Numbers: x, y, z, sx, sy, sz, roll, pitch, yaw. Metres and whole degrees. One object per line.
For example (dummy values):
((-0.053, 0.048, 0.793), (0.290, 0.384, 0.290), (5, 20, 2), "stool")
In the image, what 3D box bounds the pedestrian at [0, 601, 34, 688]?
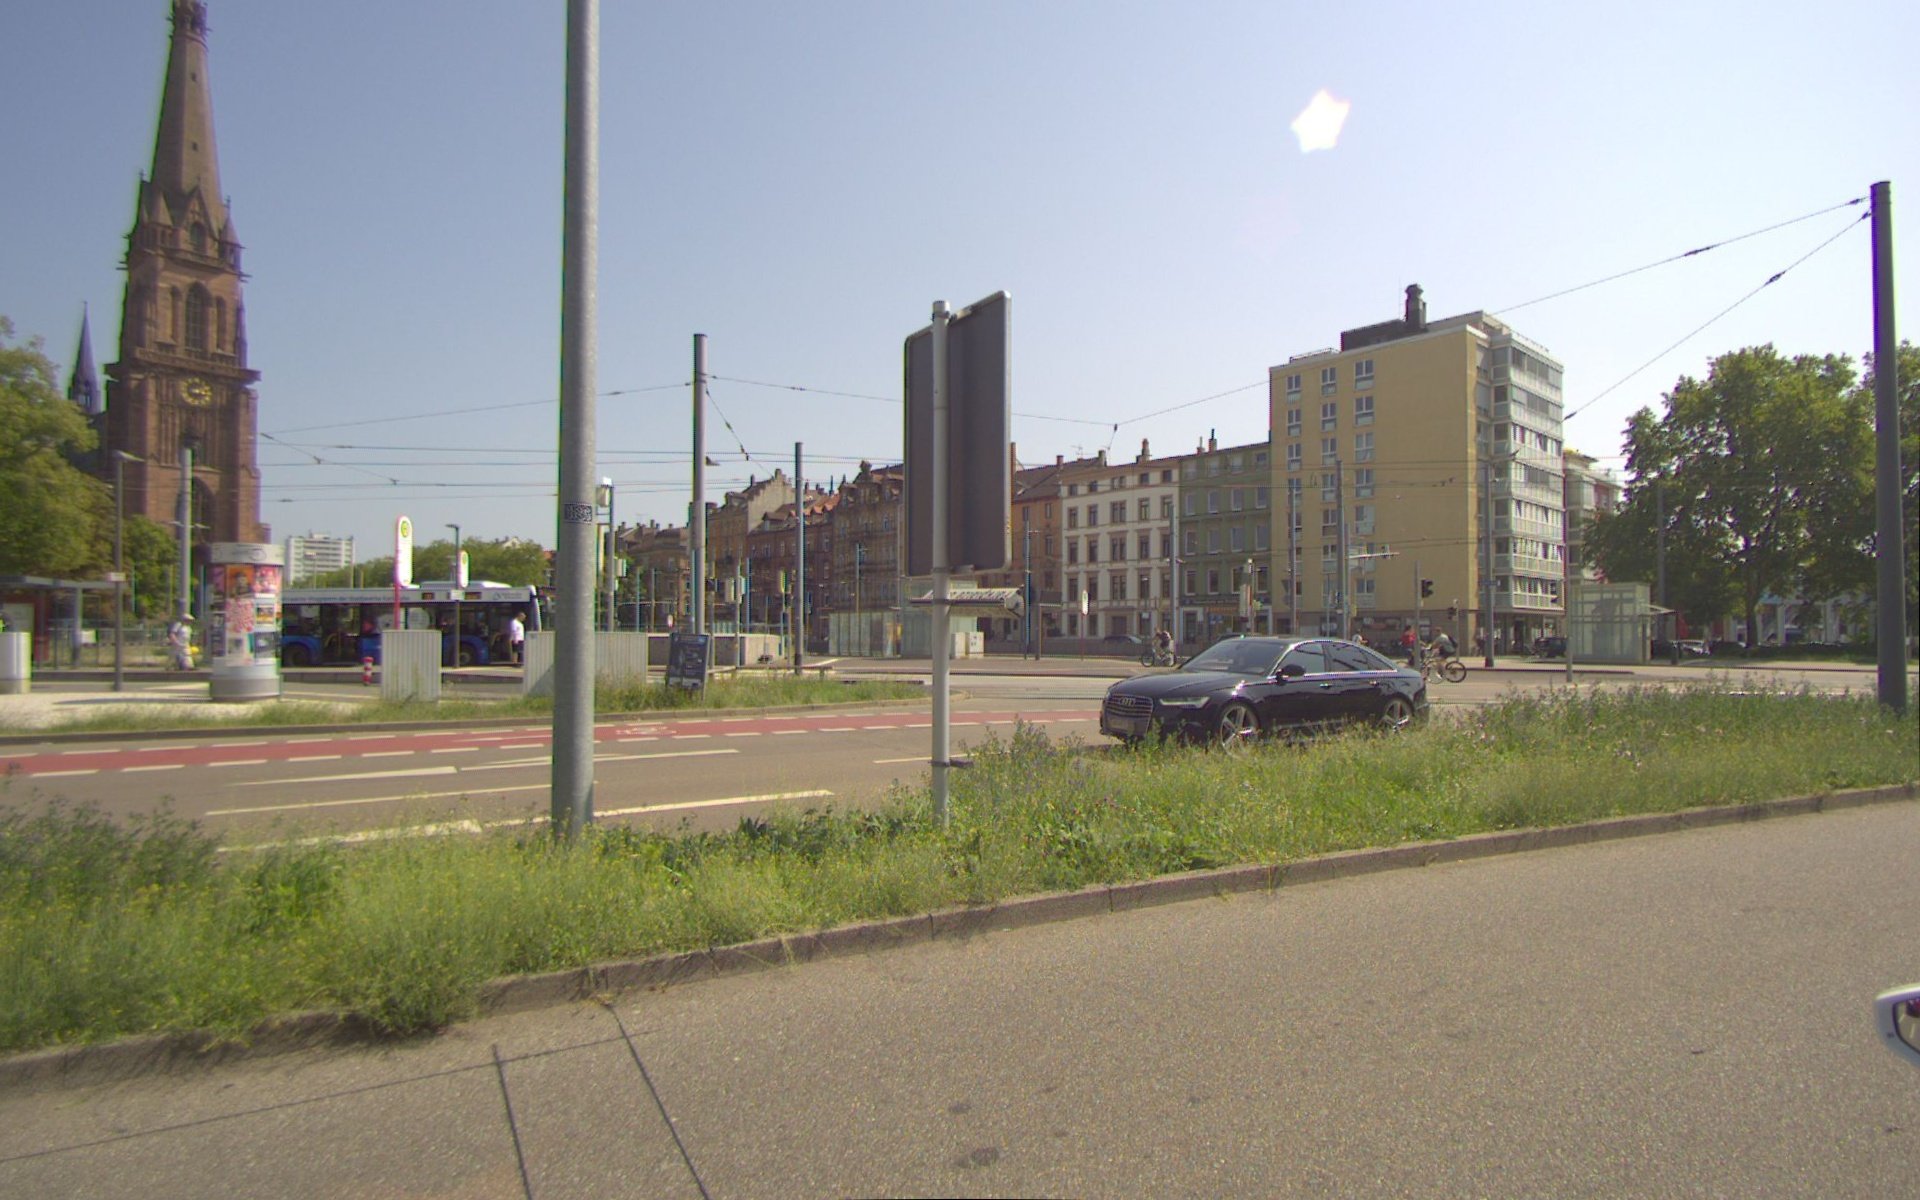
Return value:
((-19.854, 0.925, 20.885), (0.541, 1.786, 0.696), (1, -2, -12), "pedestrian")

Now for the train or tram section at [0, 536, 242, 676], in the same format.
((-25.372, 0.275, 28.217), (8.081, 3.616, 3.147), (-1, -3, 1), "train or tram section")

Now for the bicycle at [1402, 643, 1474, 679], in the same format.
((15.610, 1.989, 32.847), (2.002, 1.152, 0.699), (0, -2, 11), "bicycle")

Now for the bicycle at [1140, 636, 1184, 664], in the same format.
((8.798, 2.156, 43.662), (0.958, 1.194, 2.825), (-1, -2, 32), "bicycle")

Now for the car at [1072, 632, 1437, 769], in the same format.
((3.831, 1.153, 12.764), (4.713, 1.429, 1.761), (2, -1, -32), "car")

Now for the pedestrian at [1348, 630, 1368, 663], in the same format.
((19.947, 2.335, 50.353), (0.808, 1.654, 0.642), (2, -3, -42), "pedestrian")

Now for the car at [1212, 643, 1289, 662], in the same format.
((16.413, 2.957, 56.791), (3.840, 1.000, 1.707), (-2, -3, 43), "car")

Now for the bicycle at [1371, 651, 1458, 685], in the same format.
((13.900, 2.068, 30.799), (0.599, 0.966, 2.387), (2, -3, -42), "bicycle")

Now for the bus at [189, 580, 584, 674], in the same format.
((-20.023, 0.958, 35.539), (12.234, 3.111, 3.108), (0, -2, 2), "bus")

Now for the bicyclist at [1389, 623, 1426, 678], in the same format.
((13.789, 1.539, 30.940), (0.602, 1.664, 0.831), (1, -2, -42), "bicyclist")

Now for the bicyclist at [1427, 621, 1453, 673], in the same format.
((15.694, 1.538, 32.847), (0.607, 1.671, 0.693), (0, -2, 11), "bicyclist")

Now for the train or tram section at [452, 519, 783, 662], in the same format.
((-9.266, -0.156, 27.938), (8.081, 3.616, 3.147), (-1, -3, 1), "train or tram section")

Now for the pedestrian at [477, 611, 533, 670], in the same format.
((-14.999, 1.329, 33.152), (1.284, 1.910, 1.039), (0, -3, 3), "pedestrian")

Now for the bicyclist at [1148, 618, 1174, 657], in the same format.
((8.698, 1.606, 43.510), (0.958, 1.675, 0.661), (-1, -2, 32), "bicyclist")
